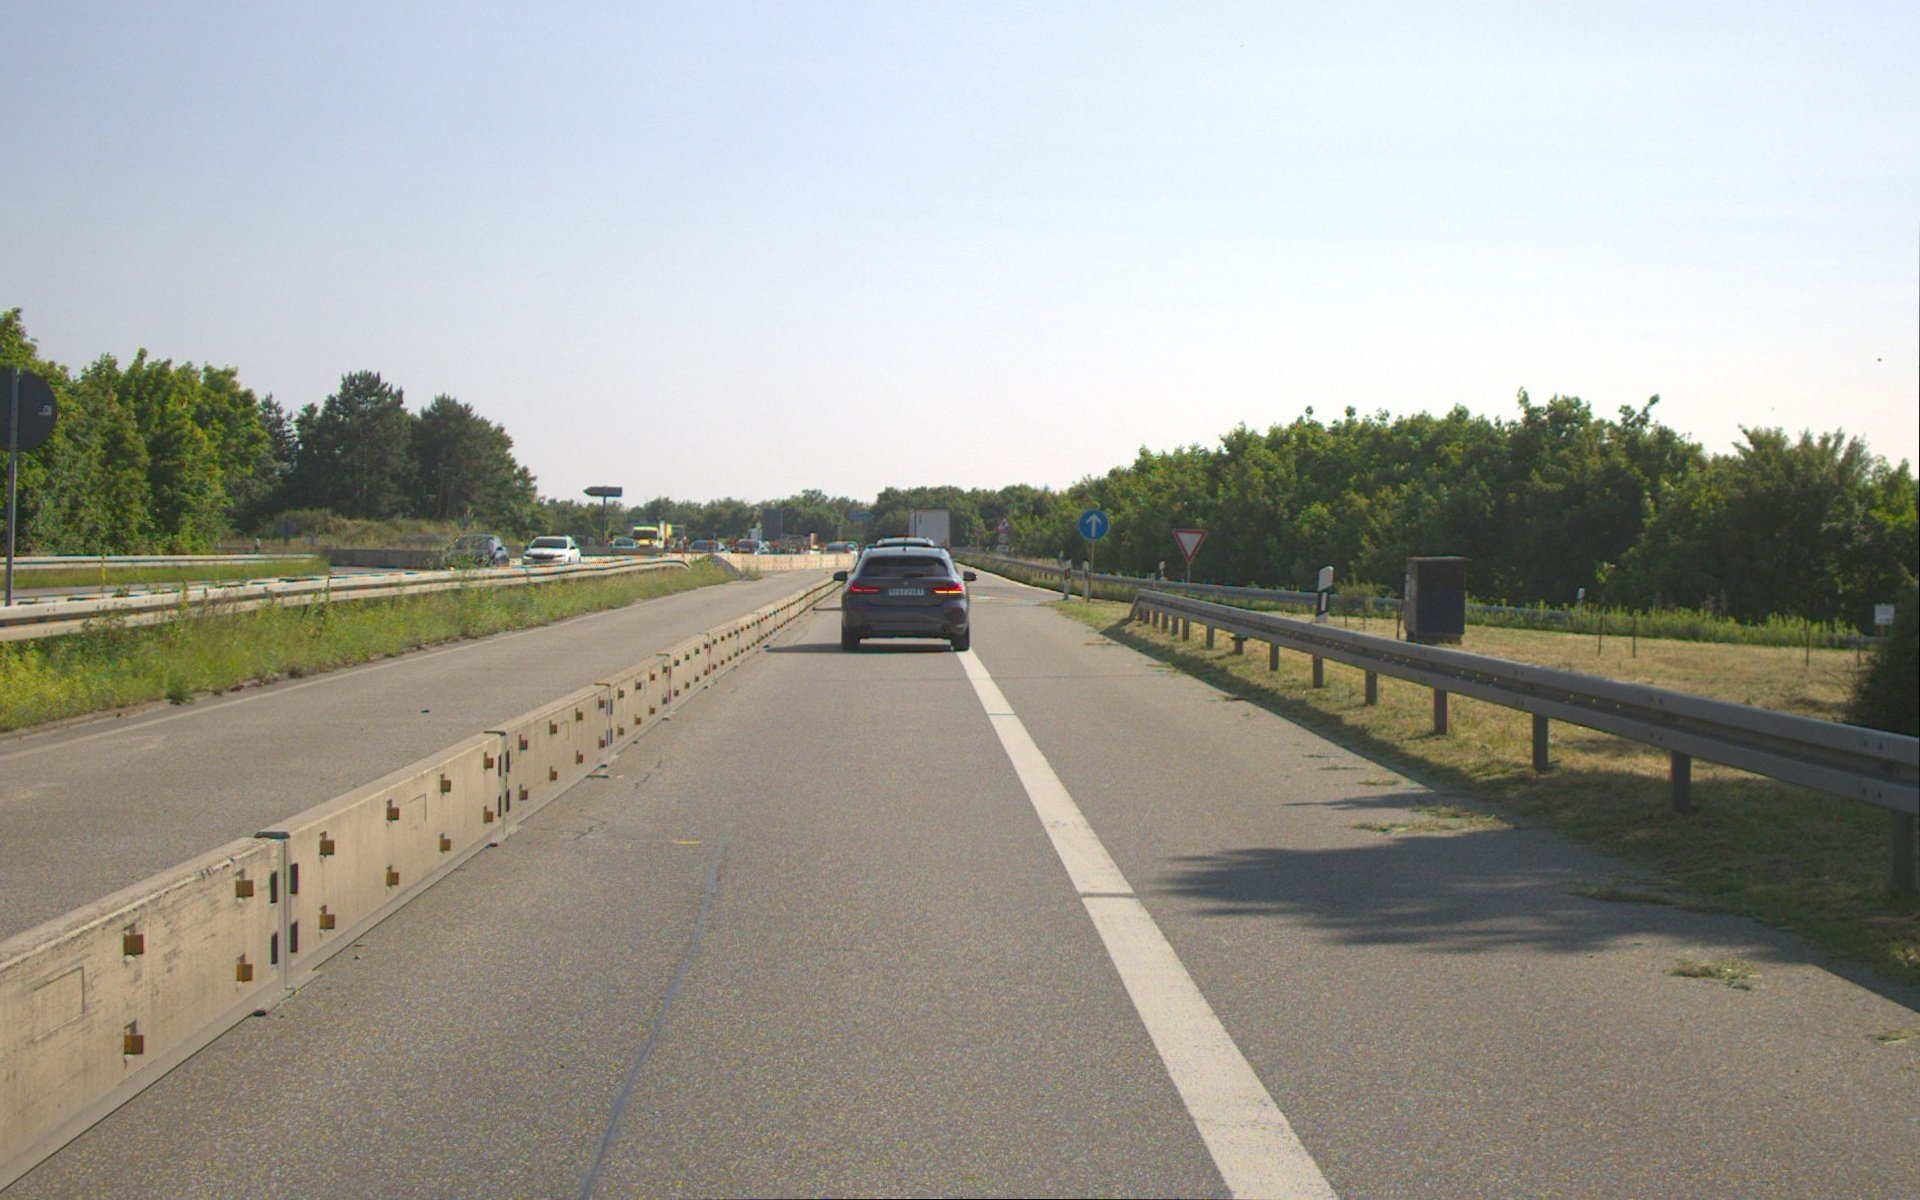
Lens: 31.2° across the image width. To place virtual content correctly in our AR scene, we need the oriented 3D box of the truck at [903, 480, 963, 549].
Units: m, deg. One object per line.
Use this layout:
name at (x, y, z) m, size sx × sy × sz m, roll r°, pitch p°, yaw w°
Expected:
truck at (-2.071, -6.289, 254.038) m, size 3.760 × 4.894 × 14.139 m, roll 1°, pitch 1°, yaw -3°

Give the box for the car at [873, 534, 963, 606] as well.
car at (-0.942, -0.697, 77.753) m, size 1.993 × 1.561 × 4.000 m, roll 0°, pitch 1°, yaw 0°

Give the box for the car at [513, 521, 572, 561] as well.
car at (-15.940, -2.274, 131.535) m, size 1.759 × 1.465 × 4.795 m, roll 2°, pitch 1°, yaw -2°

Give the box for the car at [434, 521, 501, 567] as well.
car at (-16.598, -1.886, 116.031) m, size 1.738 × 1.489 × 4.110 m, roll 1°, pitch 1°, yaw -1°

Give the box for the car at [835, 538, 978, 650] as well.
car at (-0.796, -0.121, 48.687) m, size 1.920 × 1.488 × 4.001 m, roll 0°, pitch 1°, yaw -2°
